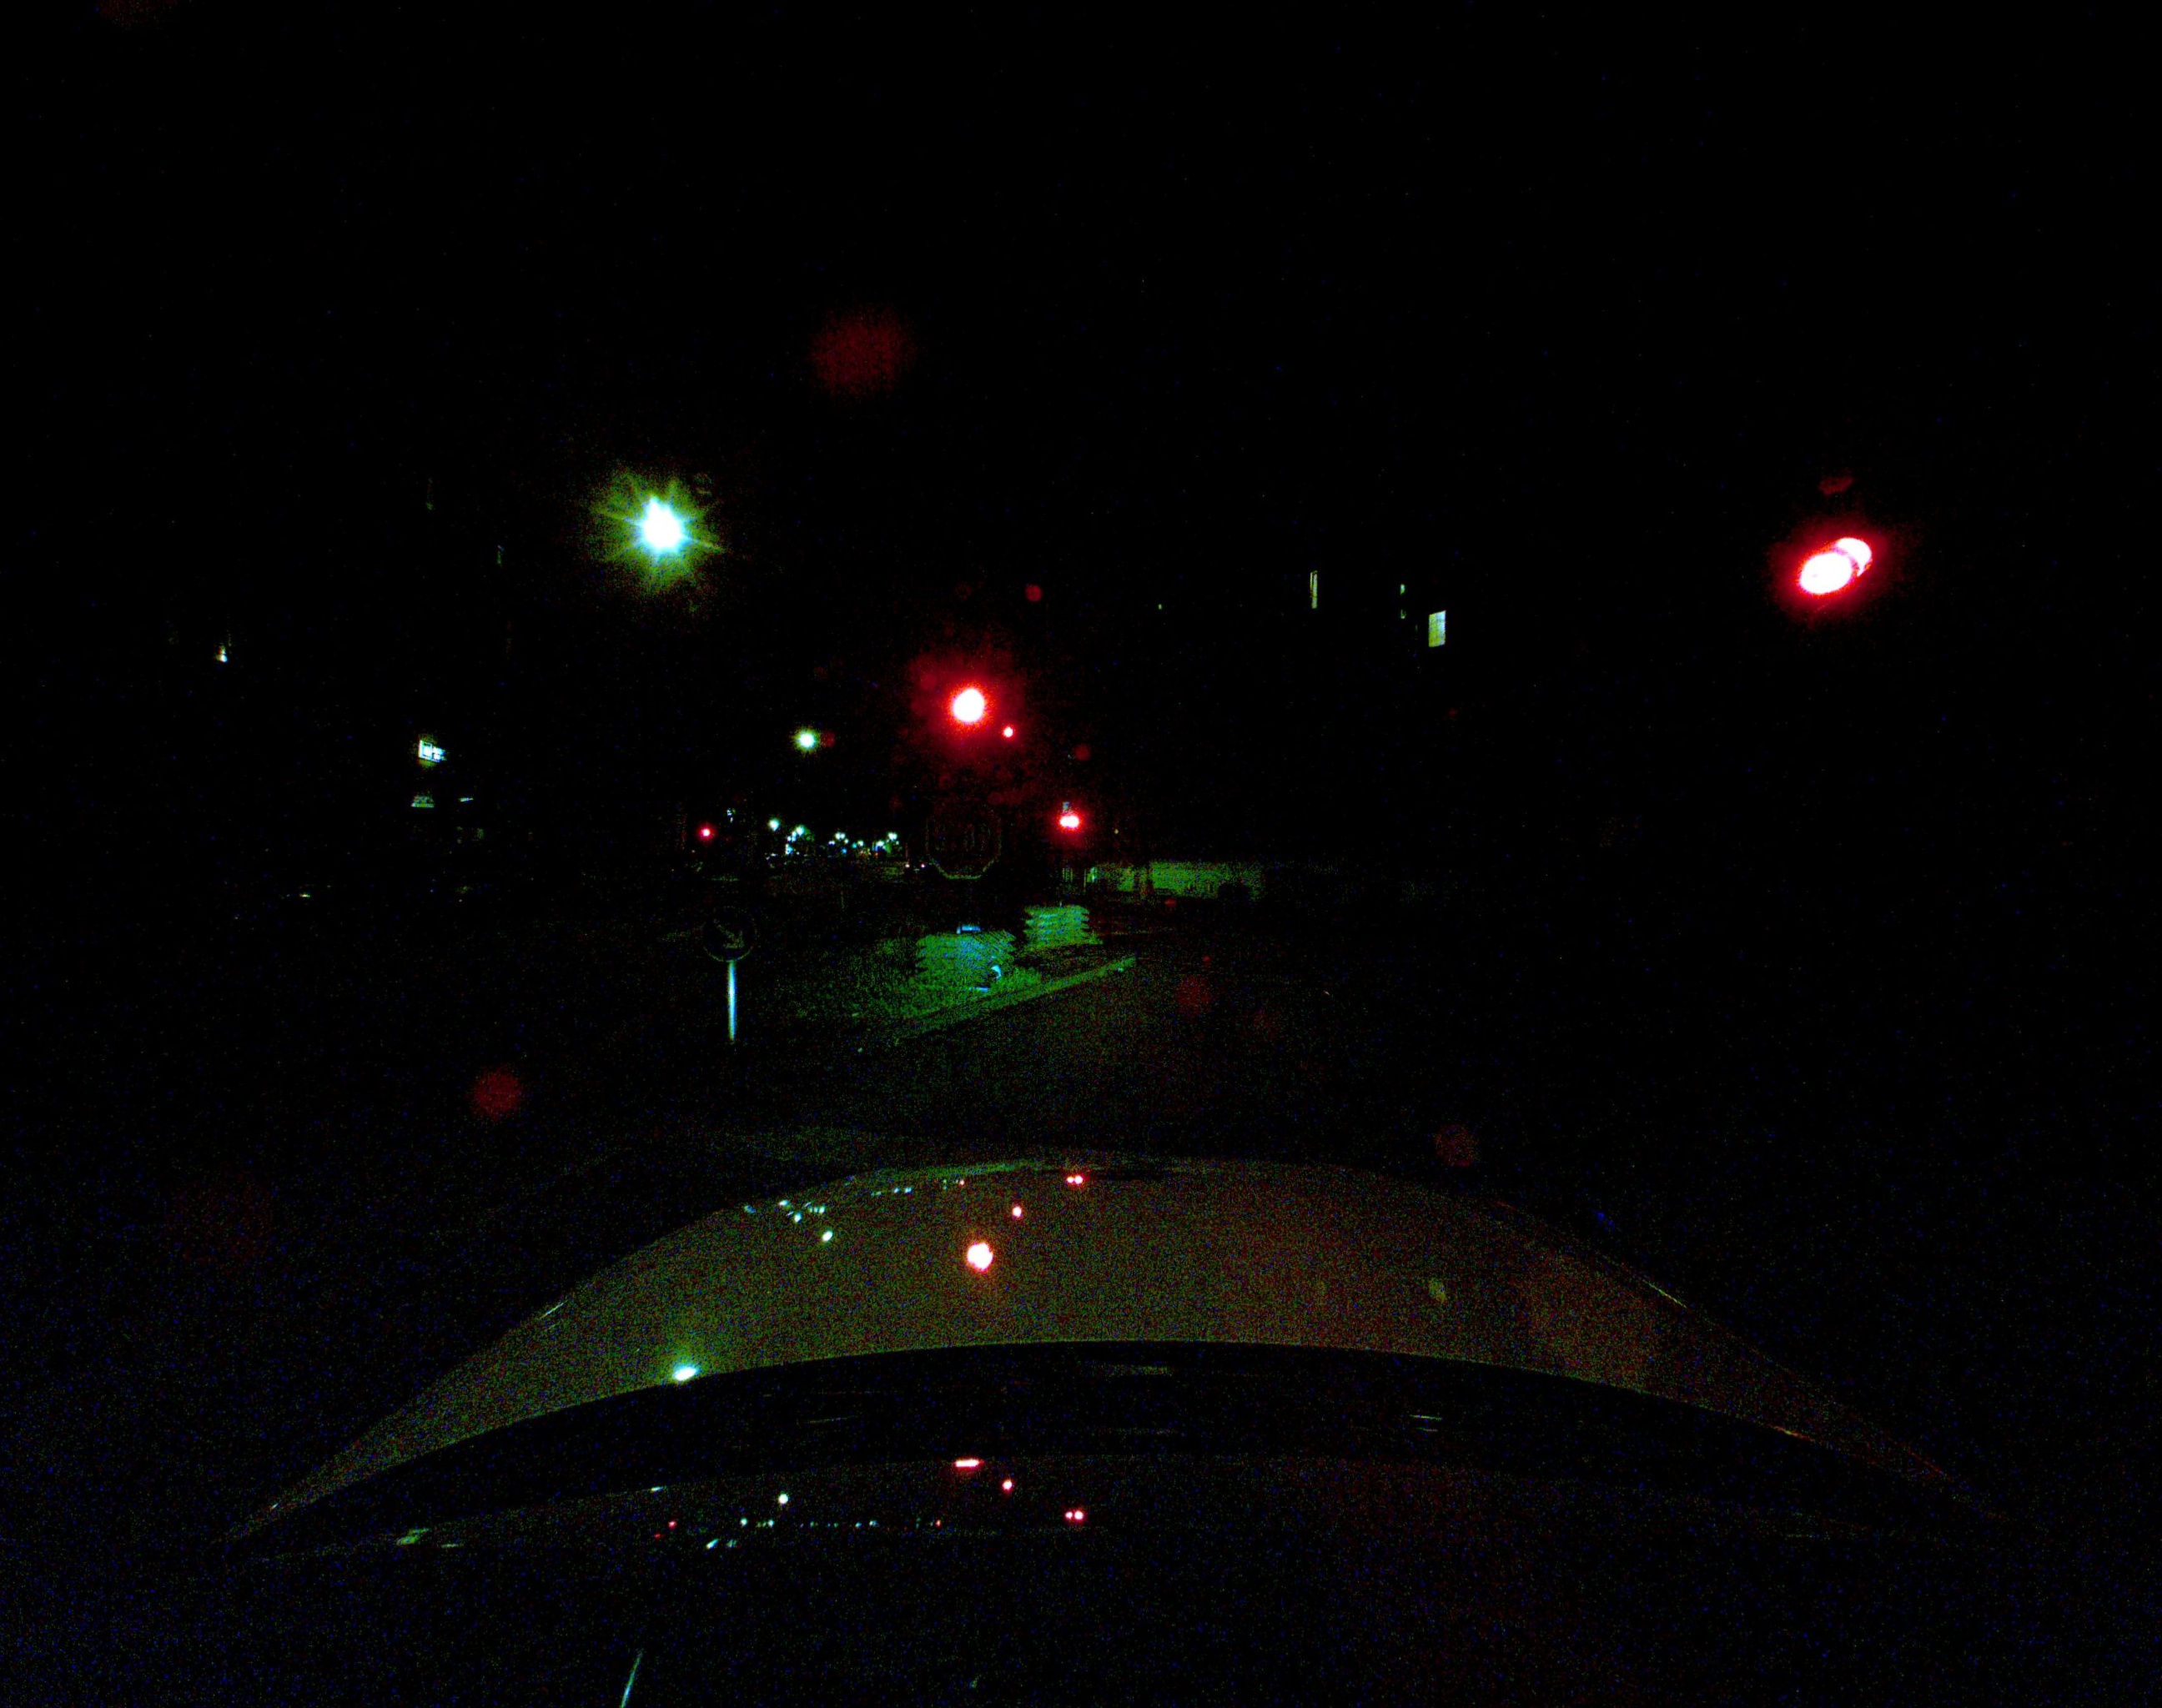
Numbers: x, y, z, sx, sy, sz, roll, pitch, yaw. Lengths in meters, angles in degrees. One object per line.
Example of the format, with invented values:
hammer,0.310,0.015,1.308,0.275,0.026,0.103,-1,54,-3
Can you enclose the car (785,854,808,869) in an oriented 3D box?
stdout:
car,-27.890,0.751,79.843,1.653,1.431,3.982,1,0,-13

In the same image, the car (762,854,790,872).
car,-25.180,0.757,67.289,1.653,1.431,3.982,1,0,-13

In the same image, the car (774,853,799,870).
car,-26.485,0.684,73.353,1.653,1.431,3.982,1,0,-13

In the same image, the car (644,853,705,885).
car,-18.986,0.671,38.227,1.653,1.431,3.982,1,0,-13

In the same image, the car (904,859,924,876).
car,-14.864,1.166,72.420,1.652,1.431,3.984,1,0,-12

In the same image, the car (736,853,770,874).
car,-23.820,0.699,59.213,1.653,1.431,3.982,1,0,-13

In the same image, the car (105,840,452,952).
car,-12.593,0.584,13.301,1.901,1.471,4.432,3,-1,-13

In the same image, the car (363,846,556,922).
car,-13.662,0.628,18.266,1.806,1.481,4.302,1,-1,-14

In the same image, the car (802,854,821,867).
car,-30.854,0.764,93.195,1.653,1.431,3.982,1,0,-13
